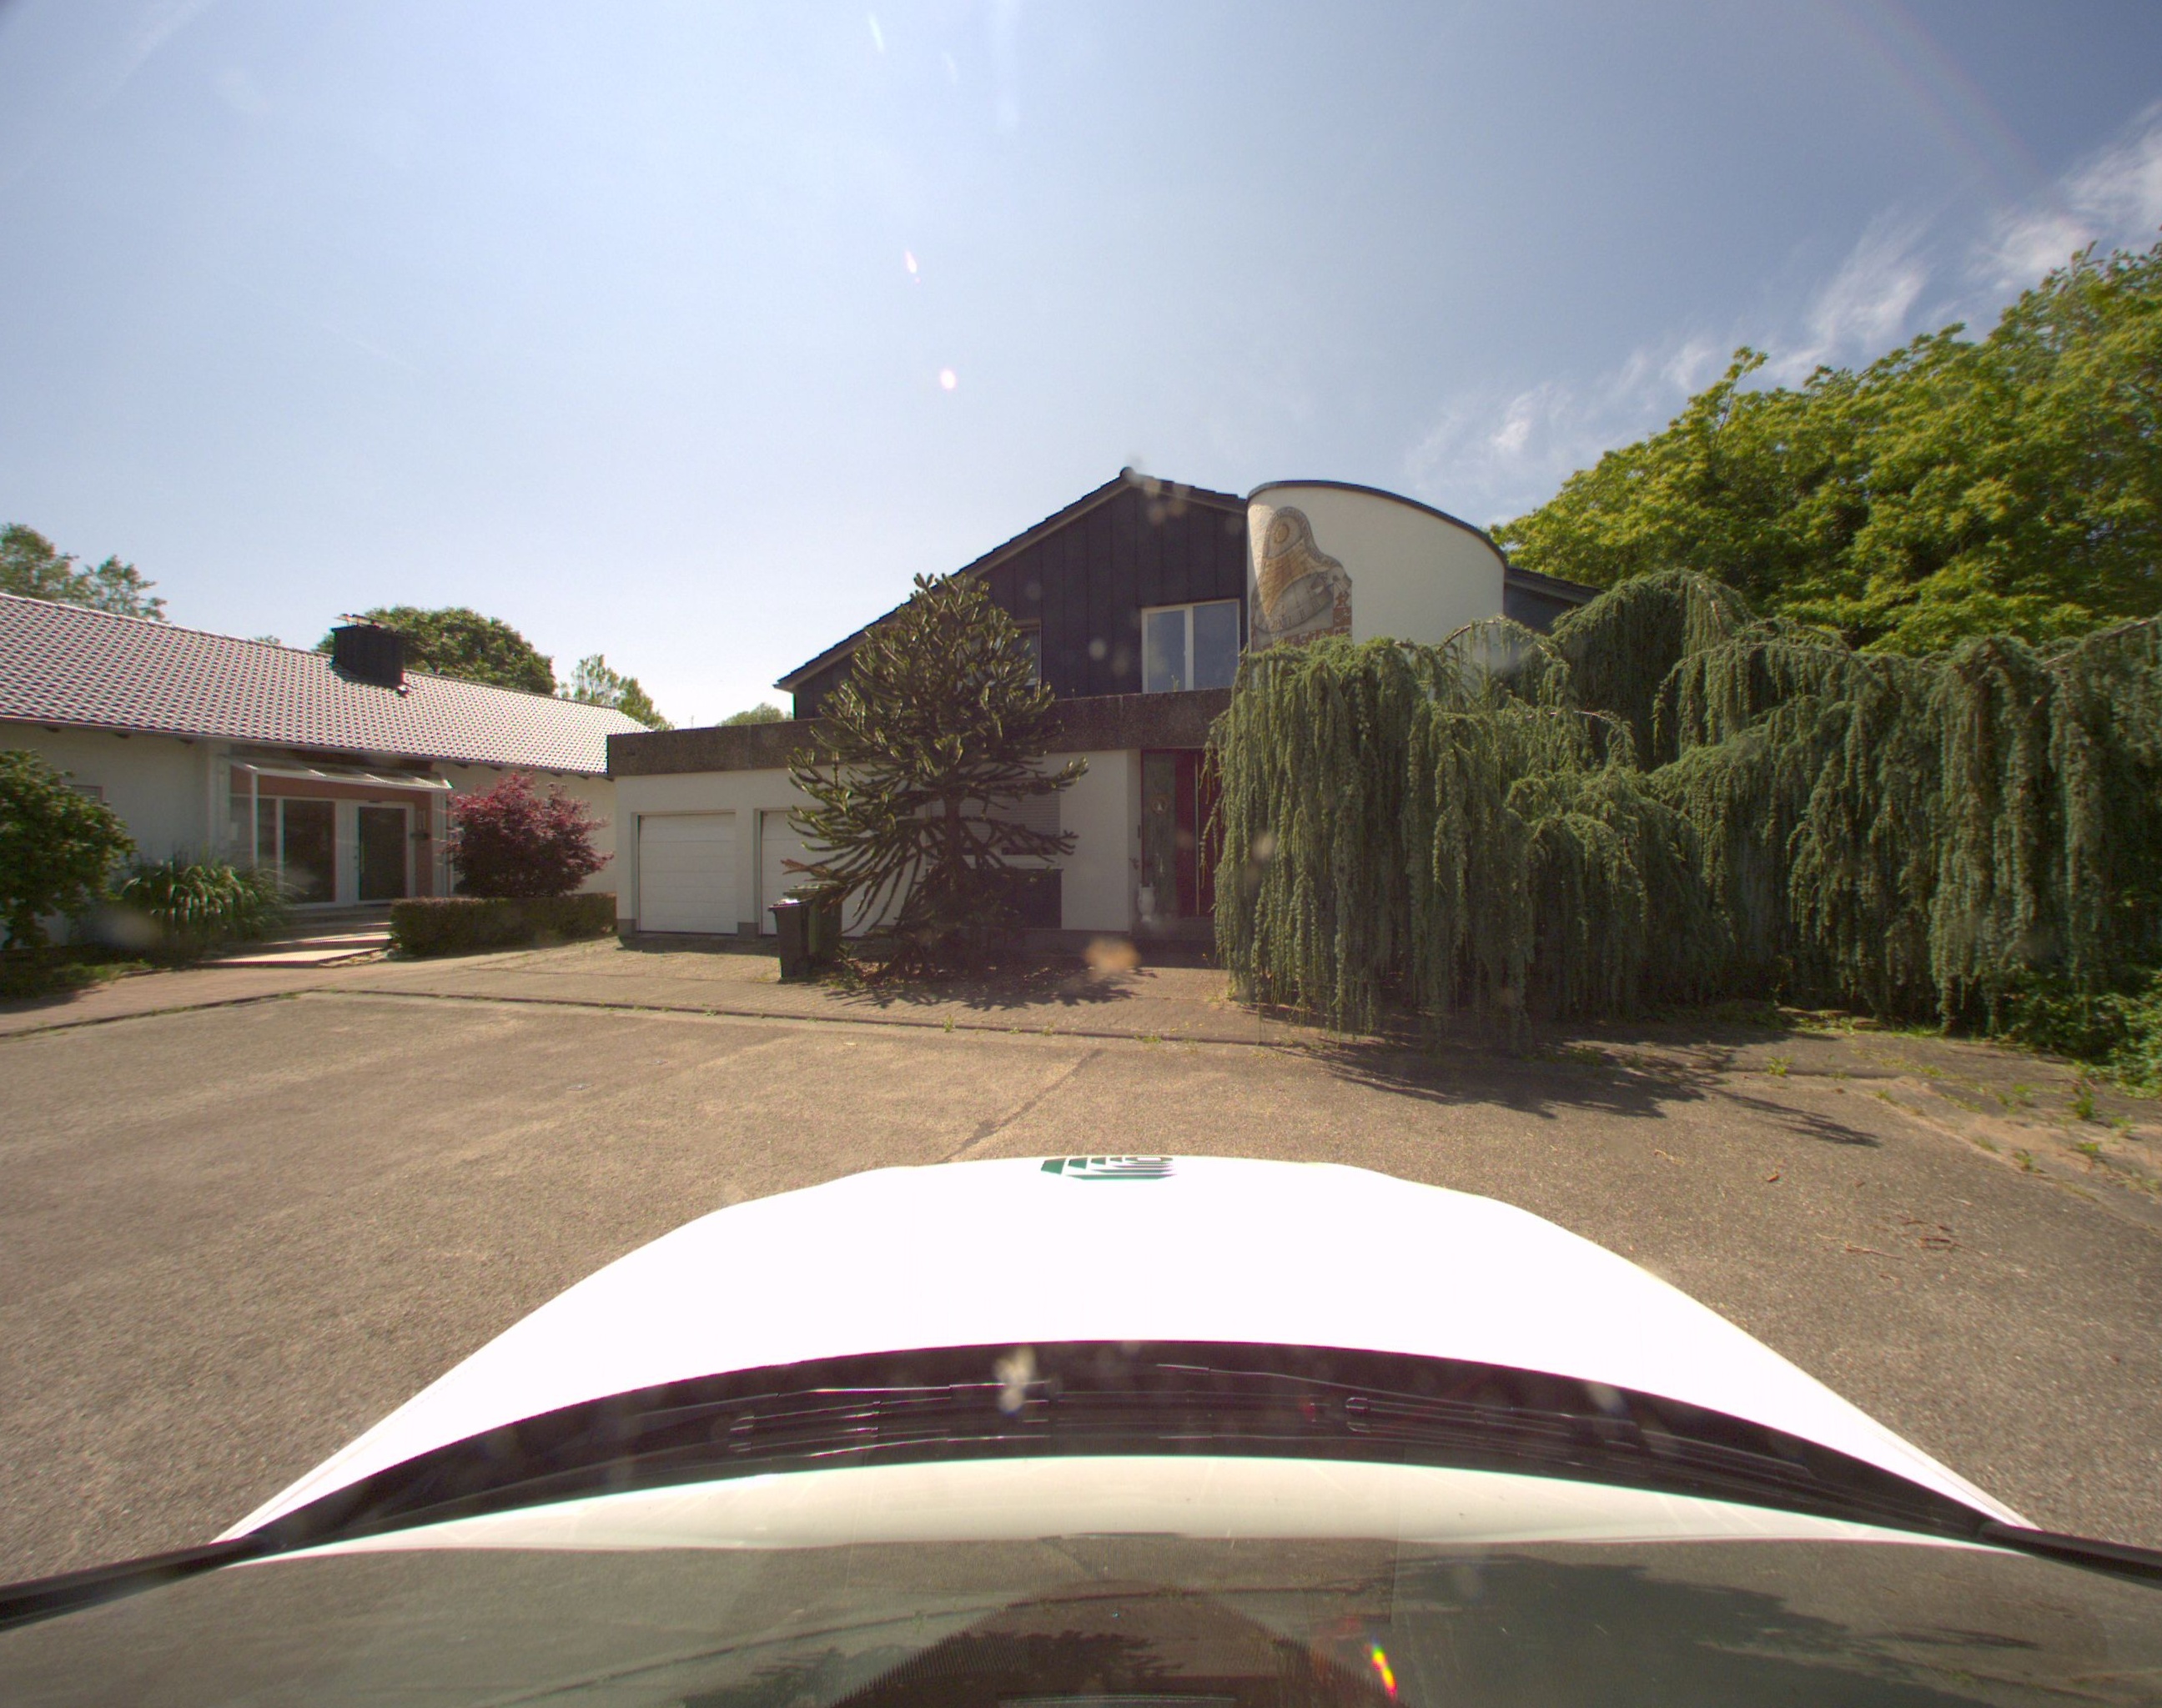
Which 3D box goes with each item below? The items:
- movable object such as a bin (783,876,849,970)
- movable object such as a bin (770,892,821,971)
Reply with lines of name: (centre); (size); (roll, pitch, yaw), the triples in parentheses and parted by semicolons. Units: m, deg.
movable object such as a bin: (-3.565, 0.906, 10.968); (0.626, 1.203, 0.554); (-1, 0, 19)
movable object such as a bin: (-3.596, 0.969, 10.272); (0.522, 0.950, 0.388); (0, 0, -7)
